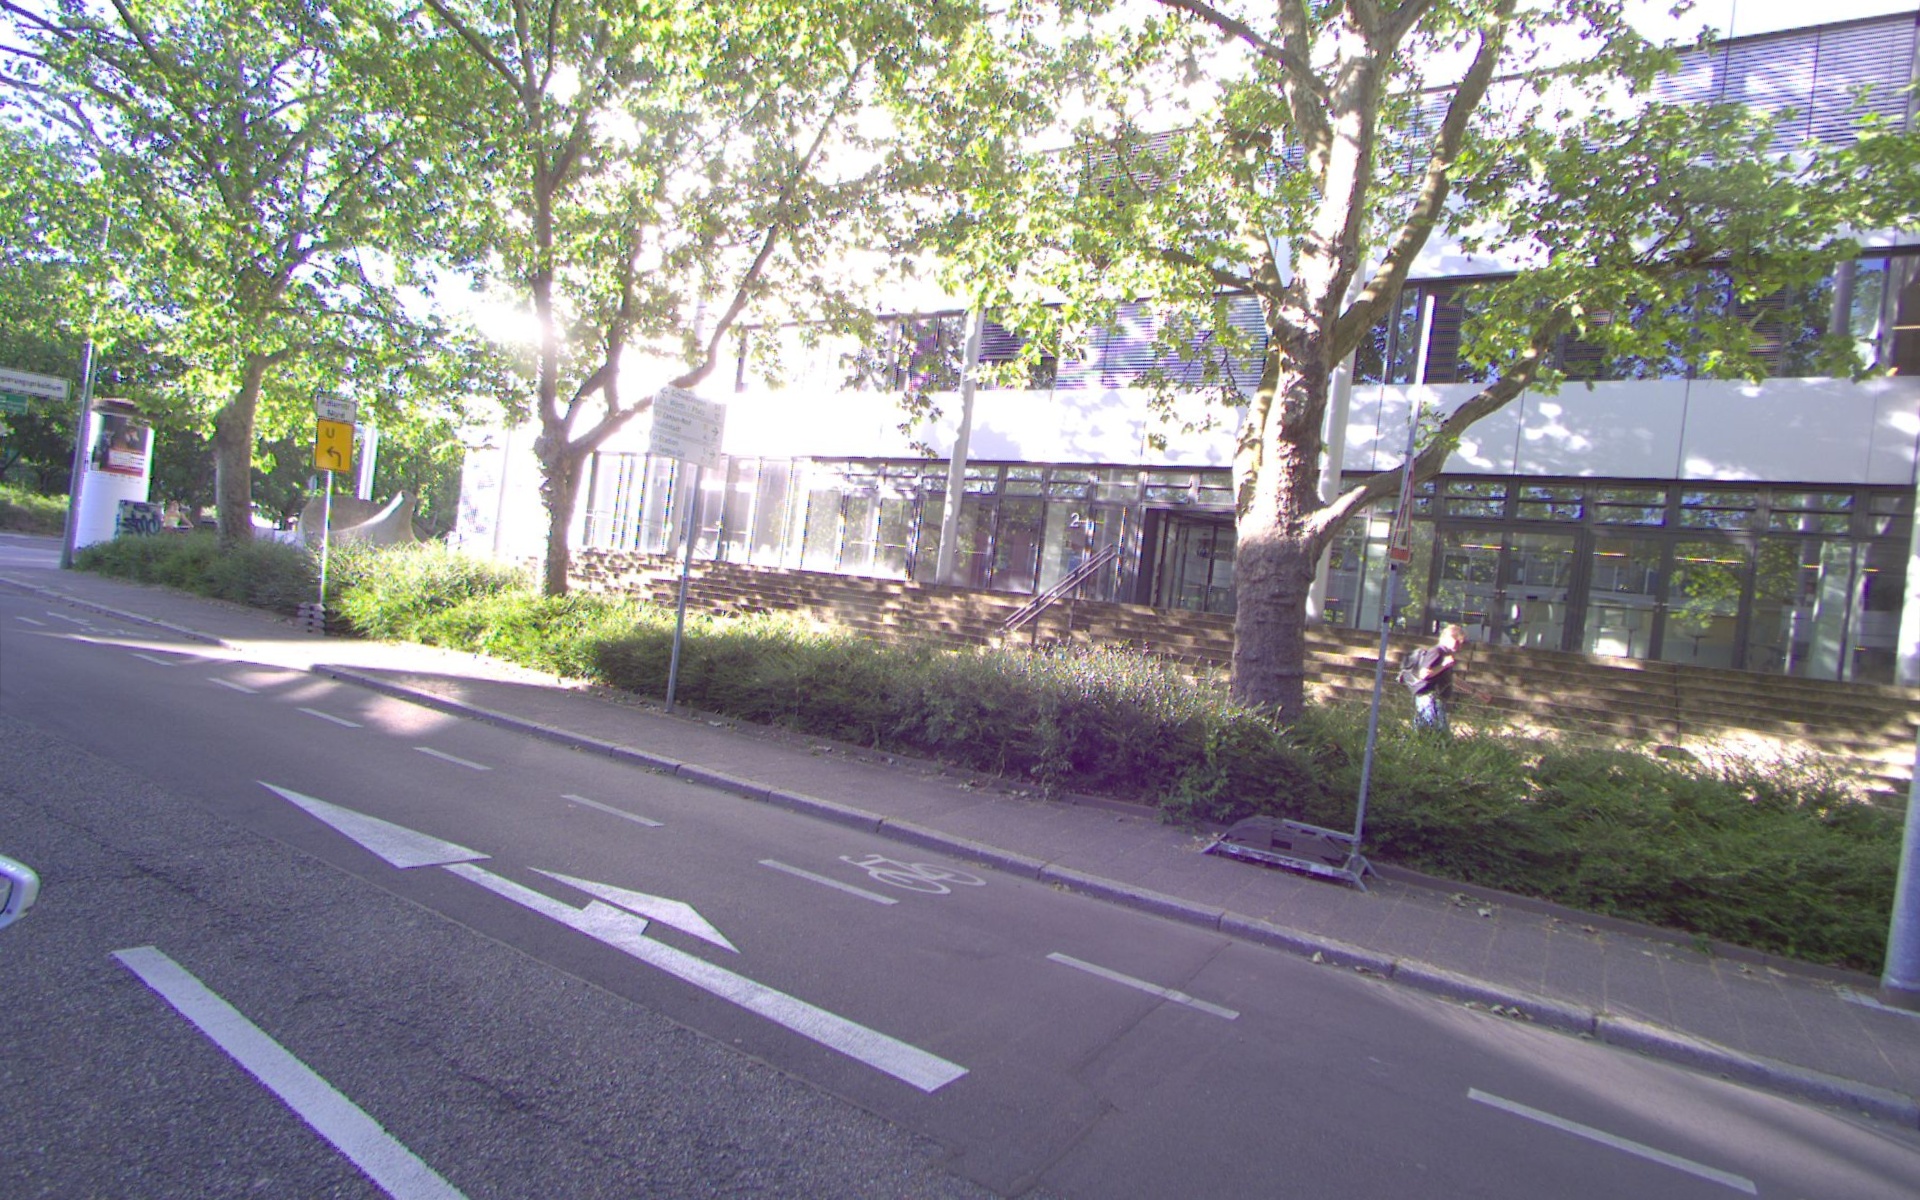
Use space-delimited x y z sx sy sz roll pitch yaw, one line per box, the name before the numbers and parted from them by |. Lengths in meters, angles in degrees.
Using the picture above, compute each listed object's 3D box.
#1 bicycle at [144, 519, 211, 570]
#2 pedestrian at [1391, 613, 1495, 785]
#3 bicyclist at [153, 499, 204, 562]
bicycle | -21.681 -1.547 27.857 2.141 1.186 0.717 6 -1 34
pedestrian | 5.561 1.122 11.569 0.848 1.802 0.785 7 0 30
bicyclist | -21.682 -1.921 27.901 0.921 1.601 0.717 6 -1 34
